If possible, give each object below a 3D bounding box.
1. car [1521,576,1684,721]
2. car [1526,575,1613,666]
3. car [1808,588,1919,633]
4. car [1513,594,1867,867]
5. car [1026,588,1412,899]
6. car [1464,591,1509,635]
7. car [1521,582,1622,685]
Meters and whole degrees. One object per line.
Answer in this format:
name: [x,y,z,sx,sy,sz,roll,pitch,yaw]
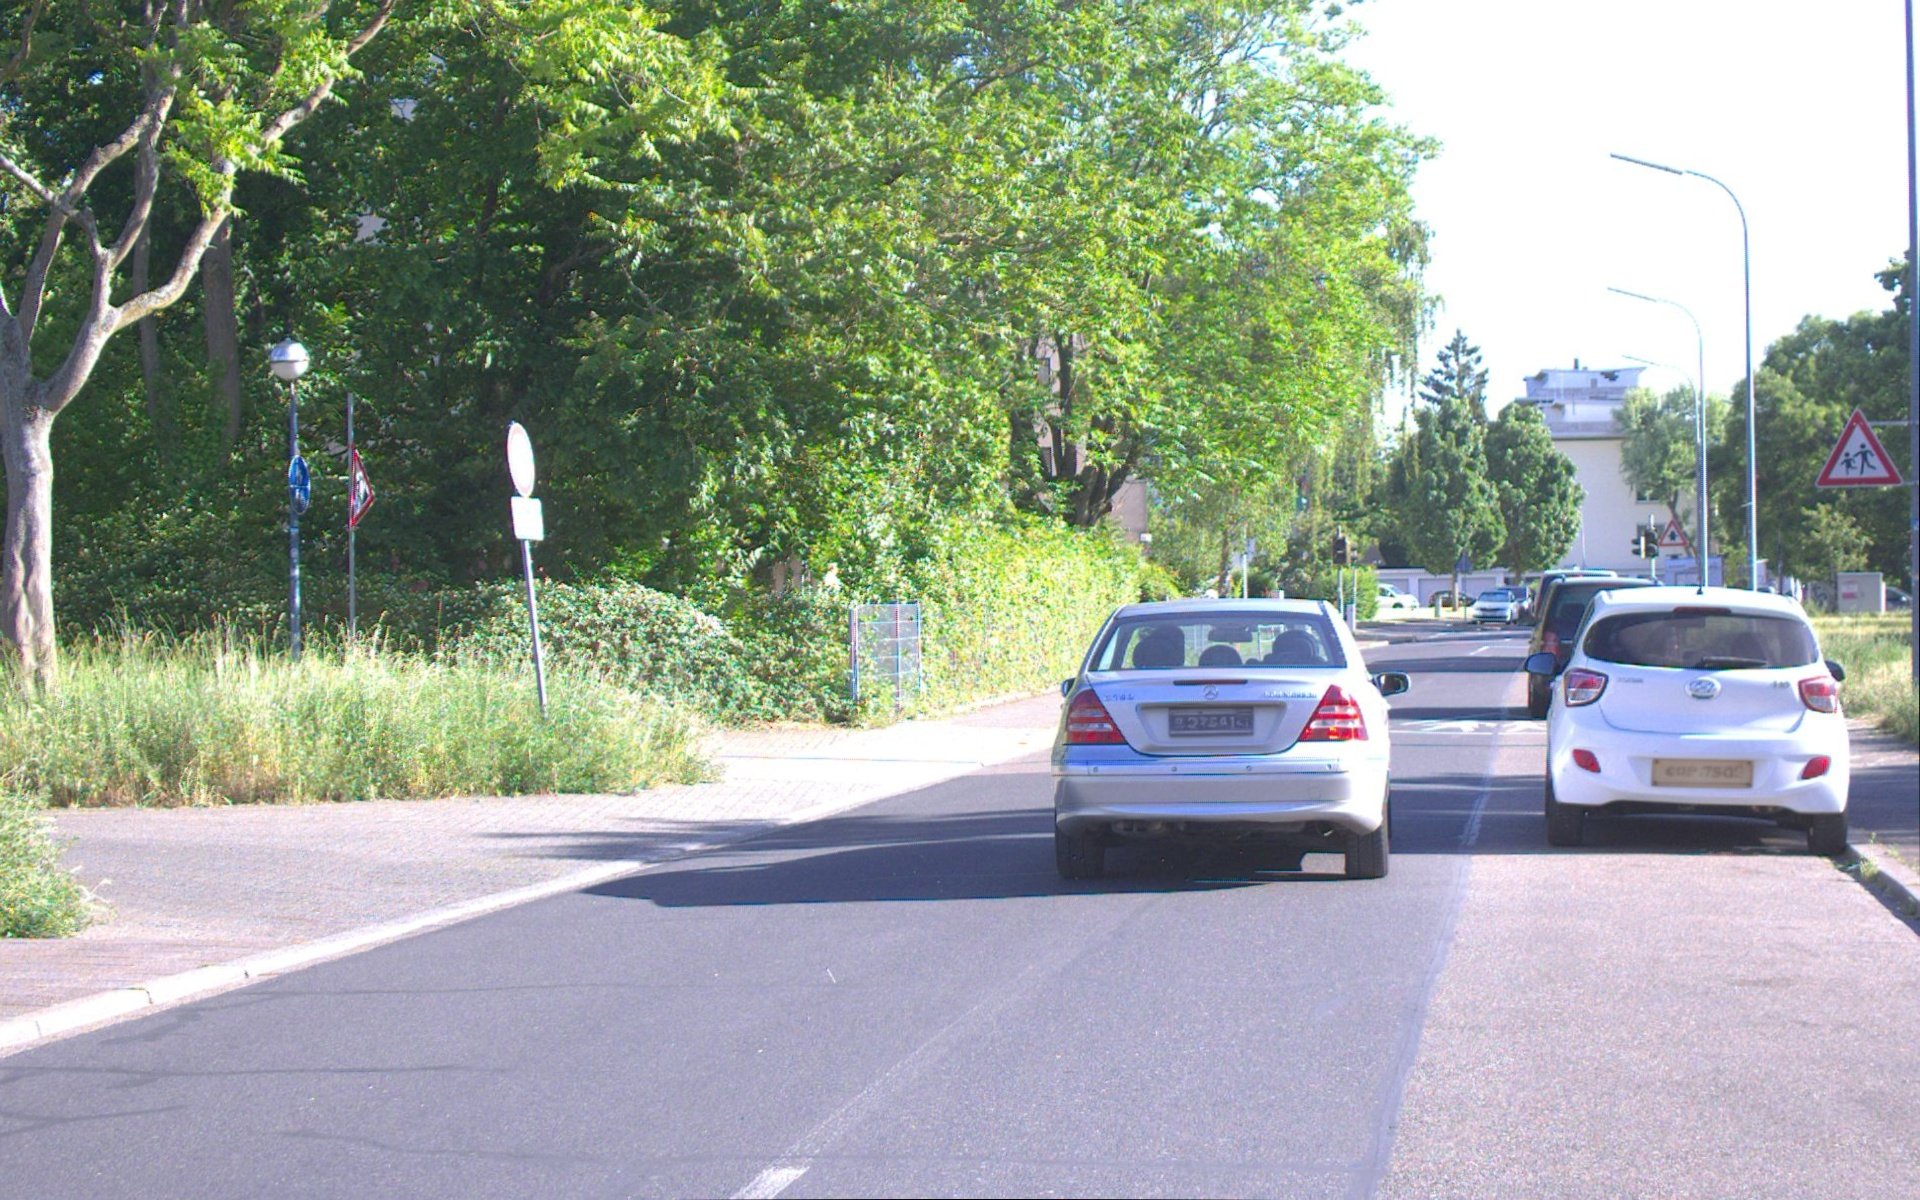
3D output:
car: [7.580,0.534,40.797,1.699,1.605,3.999,-1,0,8]
car: [12.859,0.407,72.712,1.699,1.845,3.849,1,1,9]
car: [30.853,0.365,116.756,3.707,1.437,1.697,-1,-2,25]
car: [4.324,0.720,20.826,1.722,1.474,3.739,1,0,6]
car: [1.486,0.706,18.569,1.816,1.458,4.359,-1,-1,7]
car: [22.509,0.571,146.900,1.885,1.722,3.998,-1,-2,9]
car: [11.064,0.577,62.379,1.699,1.753,3.849,1,1,9]
